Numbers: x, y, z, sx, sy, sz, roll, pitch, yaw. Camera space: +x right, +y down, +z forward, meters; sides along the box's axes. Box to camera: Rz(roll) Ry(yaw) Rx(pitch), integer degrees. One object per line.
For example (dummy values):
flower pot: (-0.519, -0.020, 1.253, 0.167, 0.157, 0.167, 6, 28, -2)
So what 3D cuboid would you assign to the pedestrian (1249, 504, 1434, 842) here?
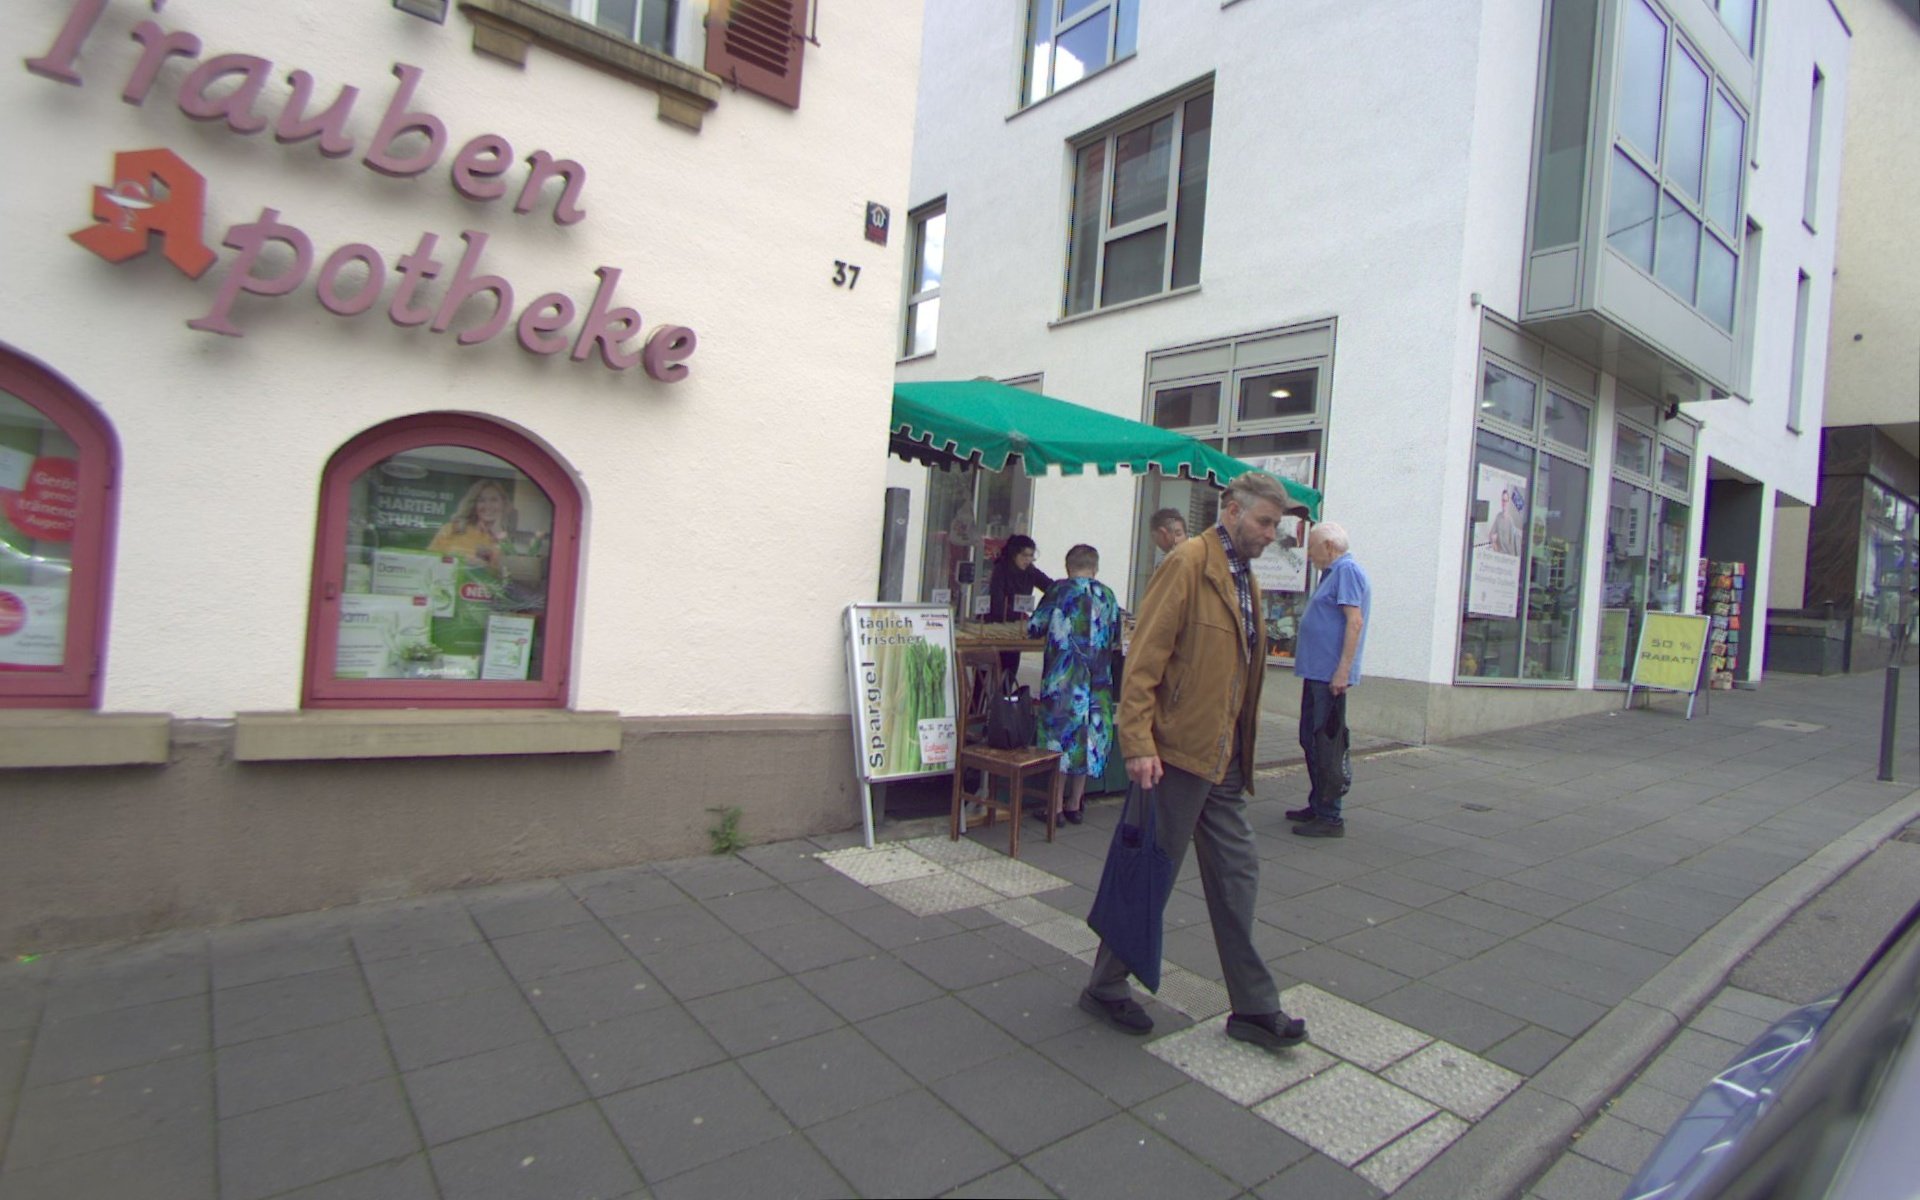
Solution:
pedestrian: (2.135, 0.380, 5.742, 0.612, 1.788, 0.704, 2, 2, -12)

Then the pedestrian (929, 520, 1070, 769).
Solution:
pedestrian: (0.270, 0.281, 7.078, 0.689, 1.632, 0.626, 1, 2, -33)

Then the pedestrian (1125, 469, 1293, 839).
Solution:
pedestrian: (1.341, 0.263, 5.608, 0.690, 1.880, 0.780, 3, 2, 5)

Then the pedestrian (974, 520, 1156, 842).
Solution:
pedestrian: (0.568, 0.397, 5.561, 0.689, 1.632, 0.626, 1, 2, -33)

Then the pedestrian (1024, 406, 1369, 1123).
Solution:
pedestrian: (0.728, 0.402, 3.073, 0.673, 1.823, 0.777, 4, 2, 39)
